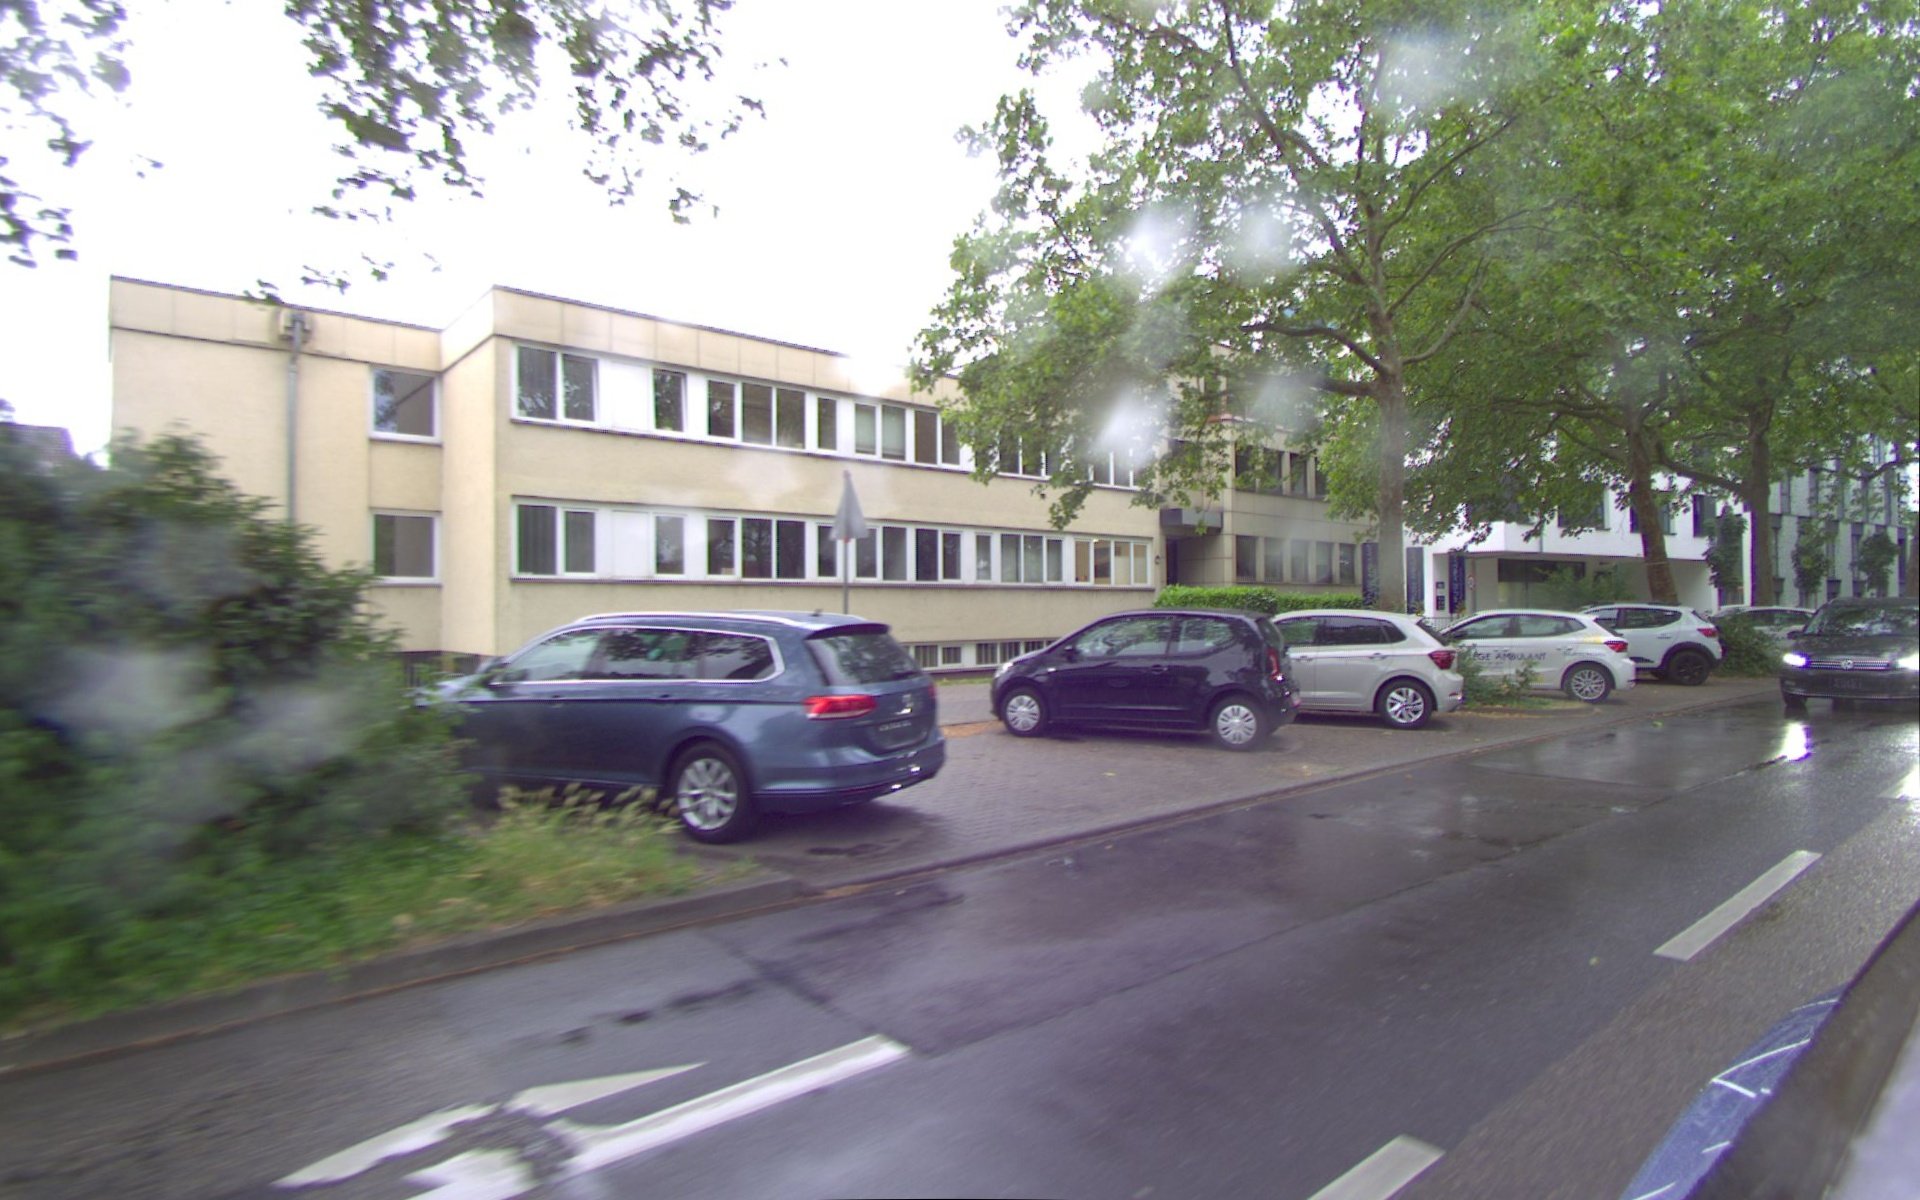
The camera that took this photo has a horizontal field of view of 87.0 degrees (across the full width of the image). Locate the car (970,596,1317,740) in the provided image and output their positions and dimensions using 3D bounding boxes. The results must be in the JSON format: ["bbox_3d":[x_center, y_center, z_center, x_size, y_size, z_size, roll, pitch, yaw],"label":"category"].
[{"bbox_3d":[2.120,0.683,11.642,3.651,1.434,1.735,0,0,24],"label":"car"}]

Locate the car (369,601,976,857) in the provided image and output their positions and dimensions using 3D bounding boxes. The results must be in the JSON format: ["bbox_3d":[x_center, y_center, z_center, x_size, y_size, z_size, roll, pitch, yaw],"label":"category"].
[{"bbox_3d":[-2.245,0.759,7.665,4.451,1.477,1.733,0,0,27],"label":"car"}]

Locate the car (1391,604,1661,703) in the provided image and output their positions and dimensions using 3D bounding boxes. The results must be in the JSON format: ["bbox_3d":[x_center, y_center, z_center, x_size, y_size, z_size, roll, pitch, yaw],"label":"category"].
[{"bbox_3d":[9.112,0.800,16.580,3.657,1.434,1.732,0,0,28],"label":"car"}]

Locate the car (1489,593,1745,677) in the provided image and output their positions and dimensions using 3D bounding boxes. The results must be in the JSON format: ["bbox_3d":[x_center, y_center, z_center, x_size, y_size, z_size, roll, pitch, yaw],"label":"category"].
[{"bbox_3d":[12.913,0.649,20.209,3.991,1.558,1.736,0,0,22],"label":"car"}]

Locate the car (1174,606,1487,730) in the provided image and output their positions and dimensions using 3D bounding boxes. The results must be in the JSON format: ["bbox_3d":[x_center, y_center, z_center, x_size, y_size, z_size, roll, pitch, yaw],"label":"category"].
[{"bbox_3d":[4.826,0.804,13.388,3.651,1.434,1.761,0,0,24],"label":"car"}]

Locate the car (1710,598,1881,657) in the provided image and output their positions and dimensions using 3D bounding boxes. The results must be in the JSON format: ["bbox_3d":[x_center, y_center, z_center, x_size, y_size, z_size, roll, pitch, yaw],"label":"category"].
[{"bbox_3d":[23.476,0.733,28.555,3.630,1.524,1.724,1,-1,40],"label":"car"}]

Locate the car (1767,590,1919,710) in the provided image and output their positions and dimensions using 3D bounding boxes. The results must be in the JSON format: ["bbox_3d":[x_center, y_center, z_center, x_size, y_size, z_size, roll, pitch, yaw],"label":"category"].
[{"bbox_3d":[14.731,0.667,15.921,5.488,1.615,1.998,0,-1,-39],"label":"car"}]

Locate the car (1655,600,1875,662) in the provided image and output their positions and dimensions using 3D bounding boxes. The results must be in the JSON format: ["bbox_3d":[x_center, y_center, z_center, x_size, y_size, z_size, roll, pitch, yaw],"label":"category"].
[{"bbox_3d":[20.188,0.739,25.605,3.994,1.446,1.735,0,0,24],"label":"car"}]
